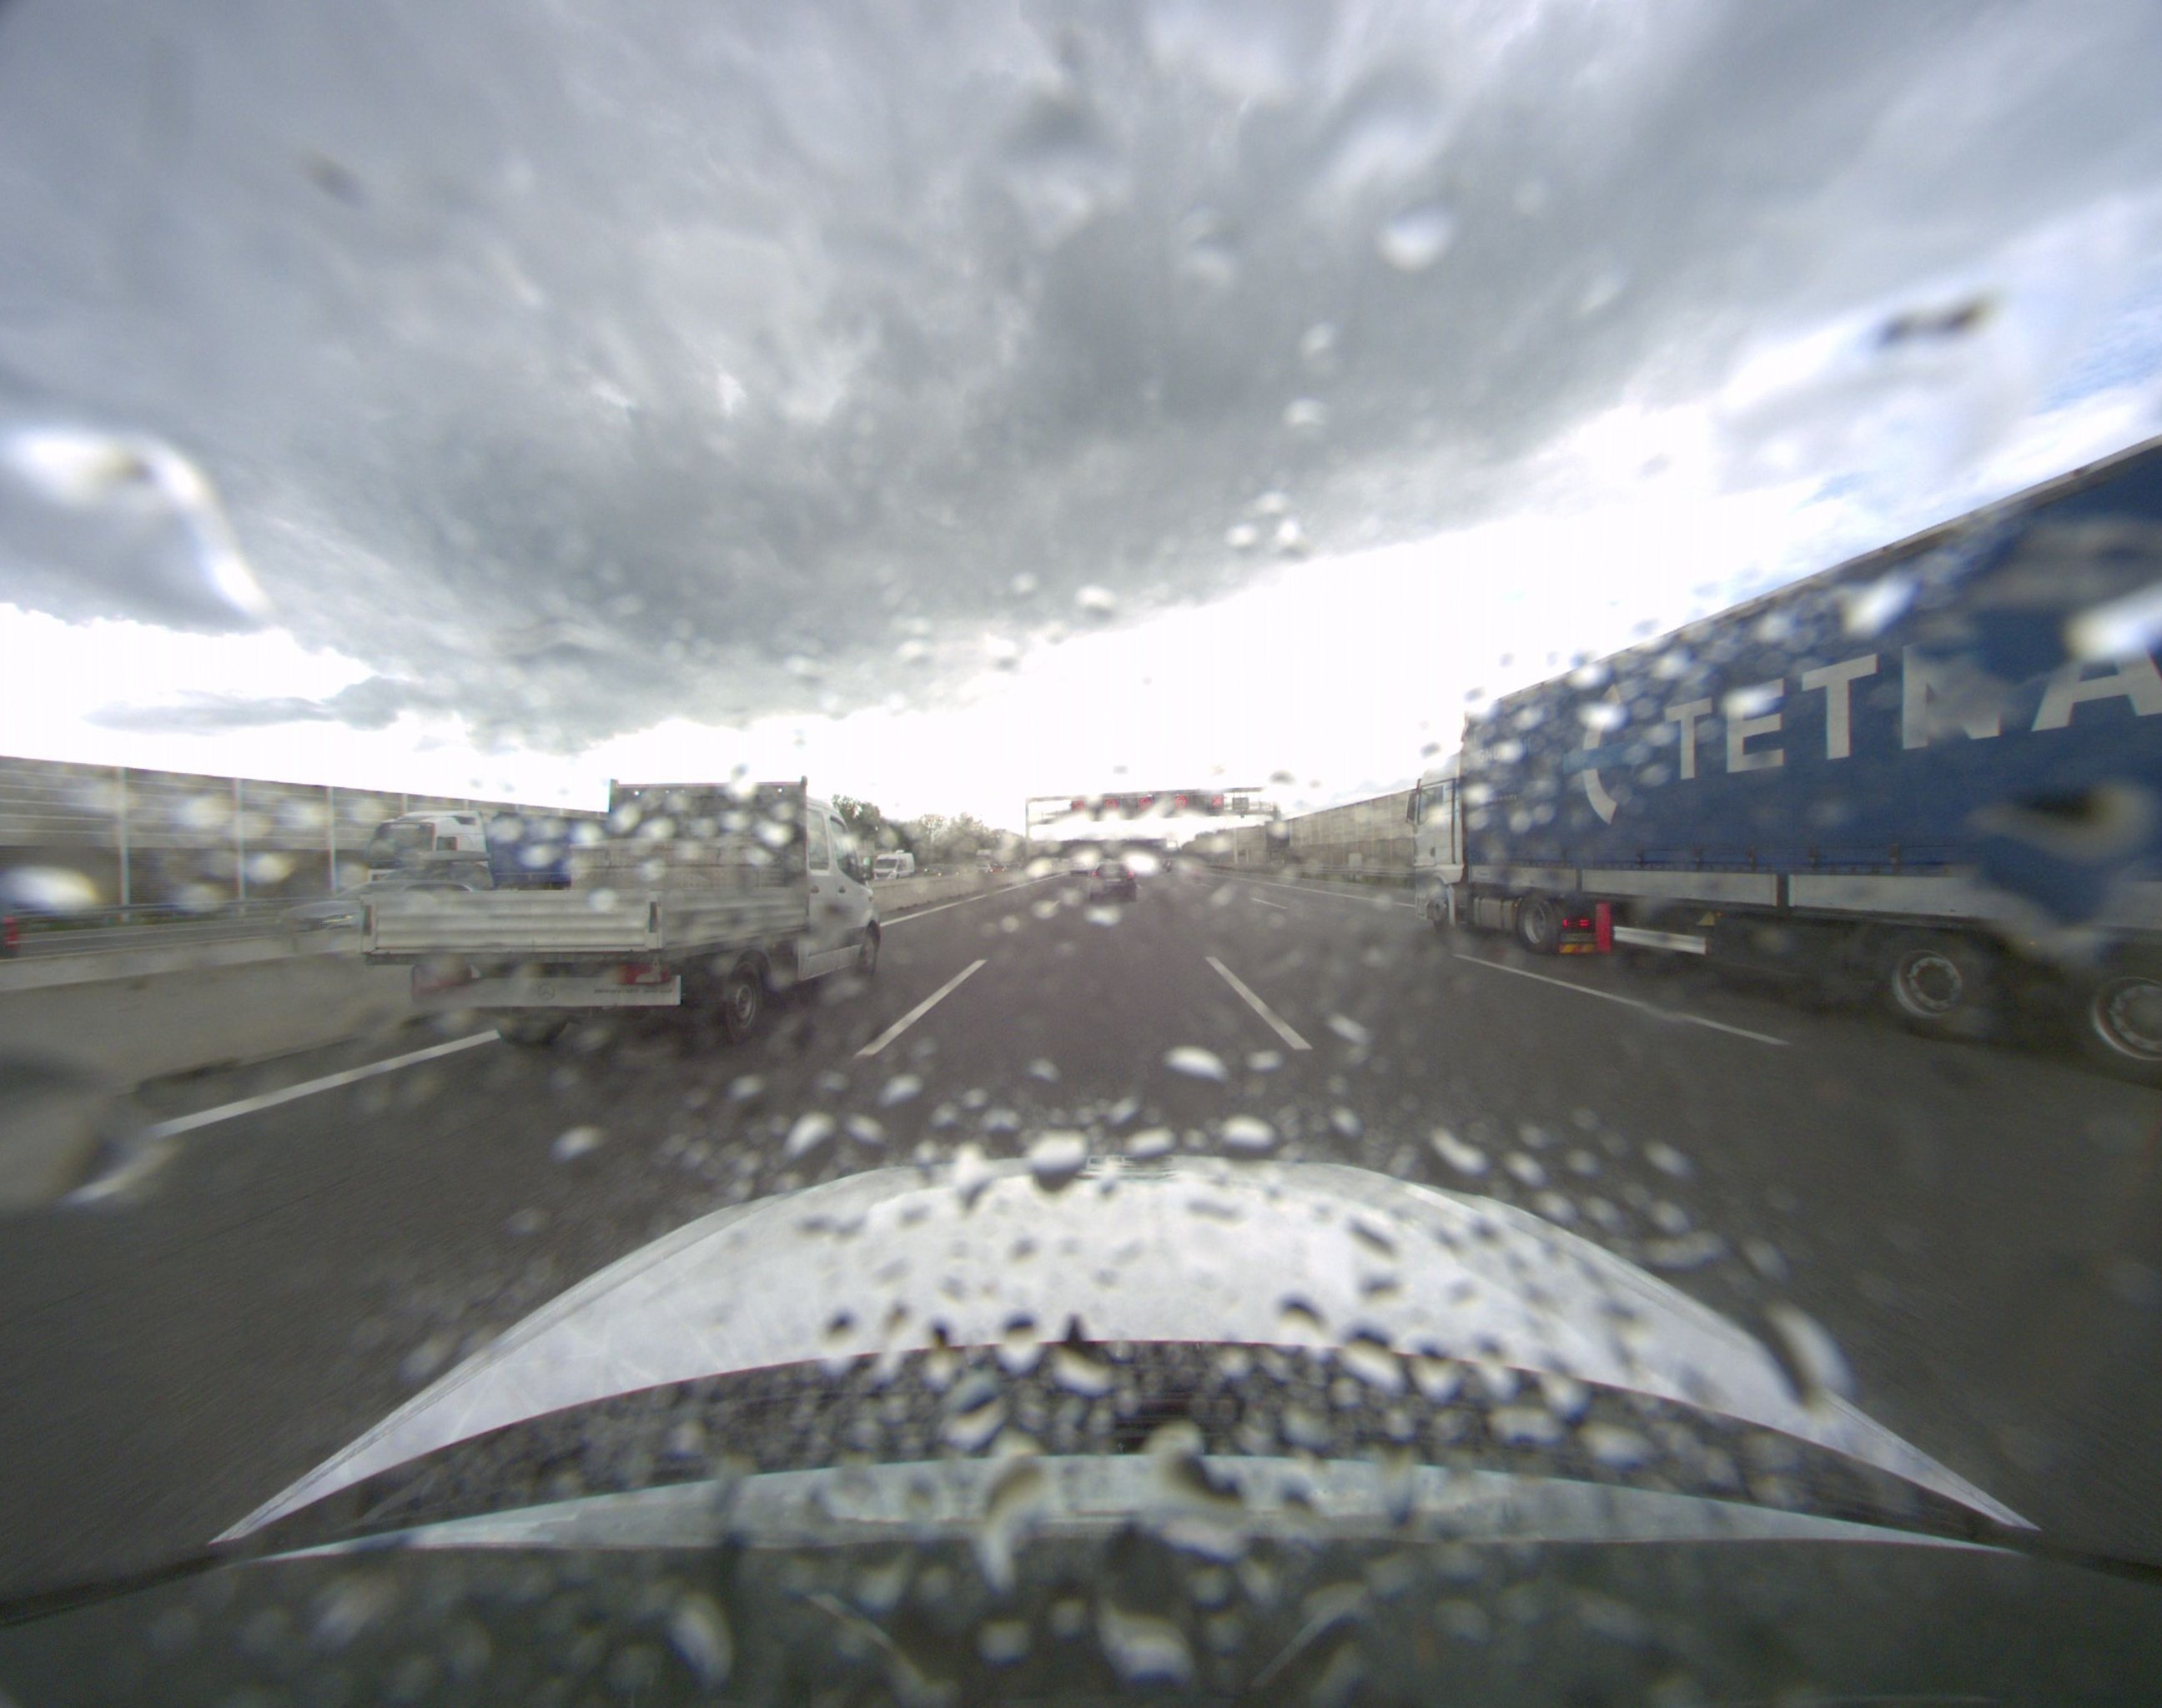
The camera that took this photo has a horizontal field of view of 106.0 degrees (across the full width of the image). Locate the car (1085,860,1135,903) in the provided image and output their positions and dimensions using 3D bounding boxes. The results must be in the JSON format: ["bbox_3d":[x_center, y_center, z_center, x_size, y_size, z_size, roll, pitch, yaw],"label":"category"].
[{"bbox_3d":[1.091,0.982,30.505,1.711,1.417,4.280,-1,0,2],"label":"car"}]

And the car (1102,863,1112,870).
[{"bbox_3d":[5.594,2.711,177.448,1.959,1.561,4.437,-2,-1,4],"label":"car"}]

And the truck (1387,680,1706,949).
[{"bbox_3d":[8.128,-0.586,15.214,2.735,4.035,5.728,-1,0,1],"label":"truck"}]

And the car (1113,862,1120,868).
[{"bbox_3d":[10.294,3.165,238.374,1.959,1.561,4.437,-2,-1,4],"label":"car"}]

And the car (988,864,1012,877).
[{"bbox_3d":[-9.724,1.919,97.689,2.051,1.491,5.002,-1,-1,4],"label":"car"}]

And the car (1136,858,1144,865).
[{"bbox_3d":[15.301,1.922,211.186,1.959,1.561,4.437,-2,-1,3],"label":"car"}]

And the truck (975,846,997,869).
[{"bbox_3d":[-17.708,0.664,151.779,2.959,4.035,5.731,-1,0,3],"label":"truck"}]

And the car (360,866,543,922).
[{"bbox_3d":[-20.539,1.242,26.934,2.052,1.599,4.999,-1,-1,2],"label":"car"}]

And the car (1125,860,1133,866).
[{"bbox_3d":[13.268,2.497,225.327,1.960,1.561,4.435,-2,-1,2],"label":"car"}]

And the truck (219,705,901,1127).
[{"bbox_3d":[-3.851,0.363,8.354,2.299,2.439,7.148,-1,0,1],"label":"truck"}]

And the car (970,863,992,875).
[{"bbox_3d":[-13.503,1.983,110.611,2.051,1.491,5.002,-1,-1,4],"label":"car"}]

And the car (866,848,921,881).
[{"bbox_3d":[-15.385,0.872,67.308,2.373,2.550,7.093,-1,-1,4],"label":"car"}]

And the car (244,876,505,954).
[{"bbox_3d":[-17.277,1.402,20.379,2.052,1.599,4.999,-1,-1,2],"label":"car"}]

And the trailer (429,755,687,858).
[{"bbox_3d":[-24.084,-1.839,39.287,2.751,4.032,14.457,-1,0,2],"label":"trailer"}]

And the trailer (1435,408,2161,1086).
[{"bbox_3d":[7.917,-0.638,8.164,2.751,4.032,14.457,-1,0,2],"label":"trailer"}]

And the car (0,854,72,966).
[{"bbox_3d":[-13.509,0.674,7.306,1.866,1.299,5.601,-1,0,1],"label":"car"}]

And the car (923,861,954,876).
[{"bbox_3d":[-15.002,1.485,86.073,2.051,1.491,5.002,-1,-1,4],"label":"car"}]

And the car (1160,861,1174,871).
[{"bbox_3d":[13.944,1.989,132.225,1.874,1.542,4.436,-2,-1,3],"label":"car"}]

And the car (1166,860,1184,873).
[{"bbox_3d":[11.147,1.461,96.326,1.941,1.418,4.237,-2,-1,4],"label":"car"}]

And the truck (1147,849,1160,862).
[{"bbox_3d":[19.765,0.391,222.975,3.139,3.602,12.711,0,0,4],"label":"truck"}]

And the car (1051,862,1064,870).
[{"bbox_3d":[-4.811,2.418,167.643,2.051,1.645,5.385,-1,-1,4],"label":"car"}]

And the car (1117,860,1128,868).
[{"bbox_3d":[8.108,1.948,159.883,1.959,1.561,4.437,-2,-1,4],"label":"car"}]

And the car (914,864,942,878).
[{"bbox_3d":[-18.138,2.022,96.999,2.051,1.491,5.002,-1,-1,4],"label":"car"}]

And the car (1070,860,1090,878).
[{"bbox_3d":[-0.039,1.431,80.422,1.710,1.624,4.281,-1,0,3],"label":"car"}]

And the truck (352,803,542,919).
[{"bbox_3d":[-24.254,0.262,31.572,2.734,4.035,5.728,-1,0,2],"label":"truck"}]

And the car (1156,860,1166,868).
[{"bbox_3d":[17.117,2.228,174.365,1.874,1.561,4.437,-2,-1,4],"label":"car"}]

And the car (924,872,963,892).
[{"bbox_3d":[-11.499,2.337,68.338,2.051,1.491,5.002,-1,-1,4],"label":"car"}]

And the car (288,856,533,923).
[{"bbox_3d":[-17.229,0.856,21.365,2.051,1.491,5.002,-1,-1,4],"label":"car"}]
